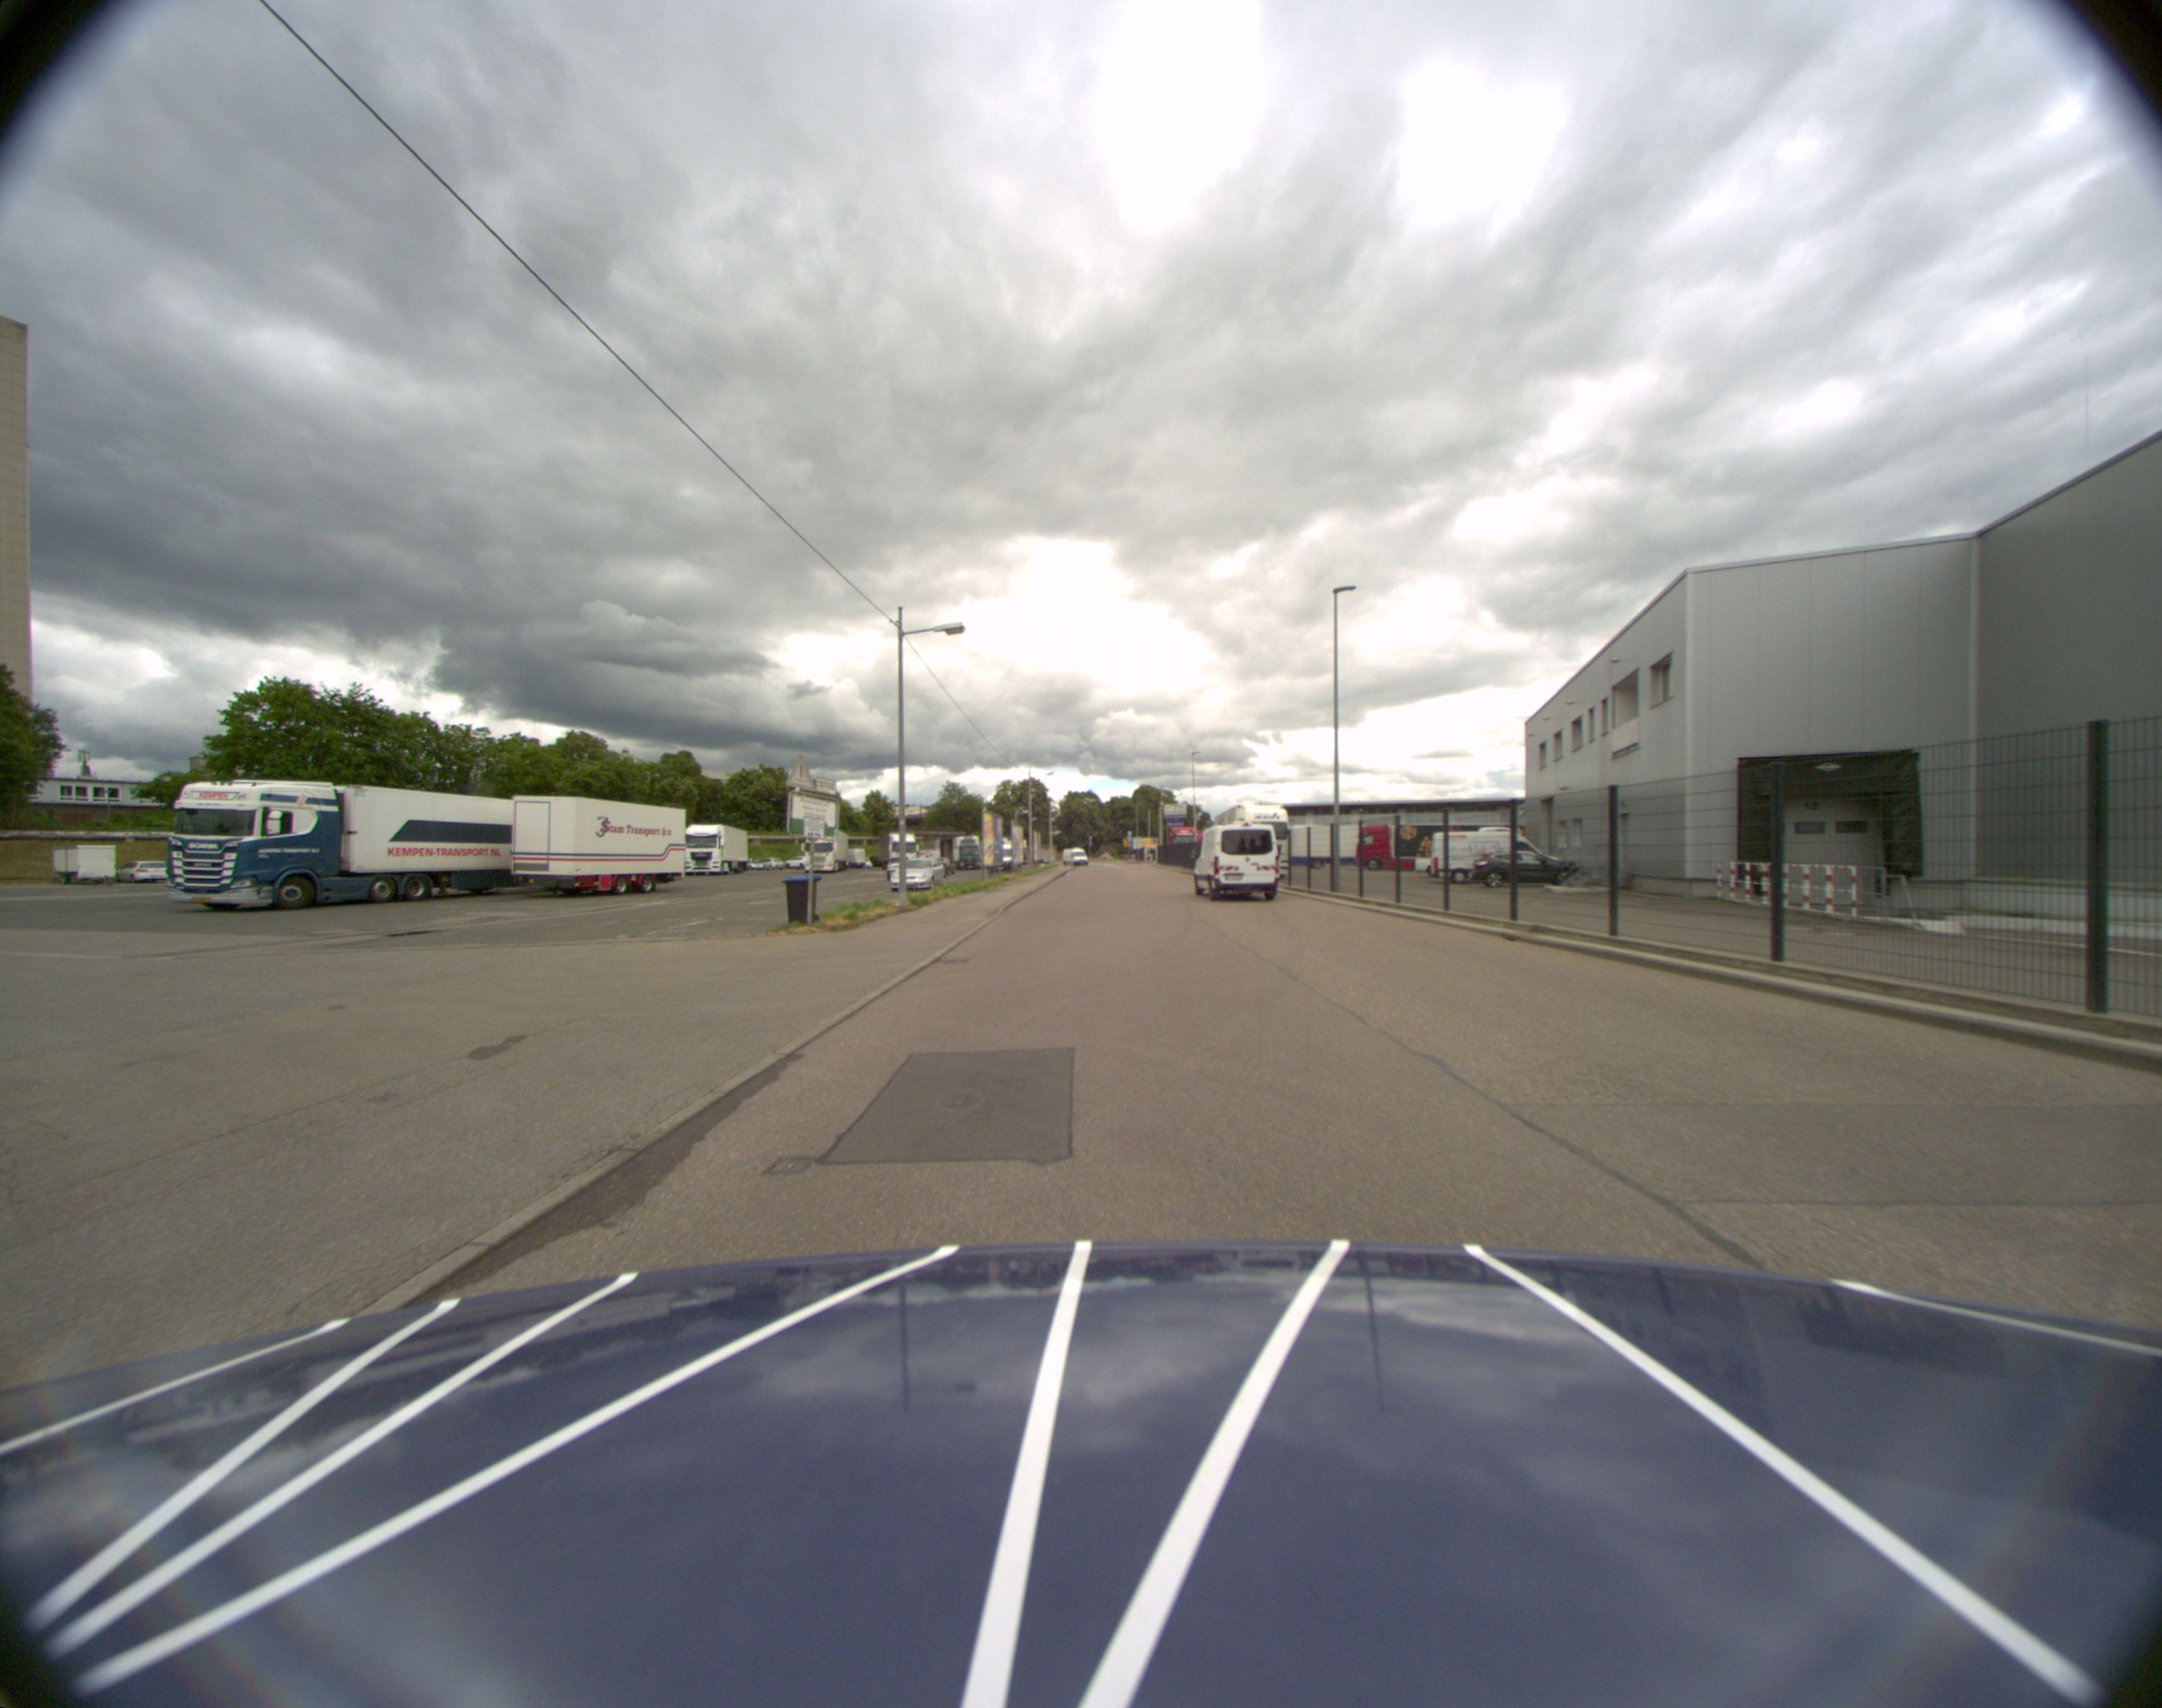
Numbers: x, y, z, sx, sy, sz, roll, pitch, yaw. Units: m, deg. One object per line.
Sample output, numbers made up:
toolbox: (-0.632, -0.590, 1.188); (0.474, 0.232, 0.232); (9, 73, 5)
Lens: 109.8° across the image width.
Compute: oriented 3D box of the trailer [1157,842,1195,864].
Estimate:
trailer: (10.360, -0.159, 83.964); (3.045, 2.179, 12.048); (1, 1, 2)

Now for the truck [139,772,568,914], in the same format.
truck: (-25.076, -0.354, 28.107); (3.082, 3.944, 13.069); (1, 0, 1)

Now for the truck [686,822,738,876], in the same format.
truck: (-29.510, -0.366, 60.988); (2.617, 4.071, 6.747); (0, 0, -16)

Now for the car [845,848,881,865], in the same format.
car: (-31.239, 0.374, 108.868); (4.906, 2.435, 2.375); (0, 1, 33)

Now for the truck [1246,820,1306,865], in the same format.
truck: (18.443, -1.065, 71.994); (4.877, 4.109, 3.048); (1, 1, 2)

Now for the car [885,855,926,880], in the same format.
car: (-11.812, 0.884, 51.377); (1.769, 1.562, 4.000); (-3, 0, 1)

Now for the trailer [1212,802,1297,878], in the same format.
trailer: (10.781, -0.811, 48.974); (3.366, 4.136, 13.852); (1, 1, 5)

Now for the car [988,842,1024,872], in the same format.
car: (-6.343, 0.218, 64.847); (2.091, 2.401, 6.084); (-1, 0, 3)

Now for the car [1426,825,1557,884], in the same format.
car: (20.384, 0.065, 38.034); (5.422, 2.714, 2.244); (-2, 0, 20)

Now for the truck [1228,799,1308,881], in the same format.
truck: (10.170, -0.745, 42.001); (3.366, 4.136, 5.629); (1, 1, 5)

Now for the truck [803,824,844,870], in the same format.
truck: (-23.985, -0.588, 71.023); (2.876, 4.071, 6.749); (0, 0, -12)

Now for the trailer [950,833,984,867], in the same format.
trailer: (-14.648, -0.483, 96.920); (2.841, 4.071, 13.378); (0, 0, -15)

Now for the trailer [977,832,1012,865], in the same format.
trailer: (-11.663, -0.721, 101.305); (2.841, 4.071, 13.378); (0, 0, -15)

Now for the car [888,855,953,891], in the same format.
car: (-6.989, 0.789, 33.555); (1.778, 1.455, 4.560); (-1, 0, 1)

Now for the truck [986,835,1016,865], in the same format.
truck: (-10.092, -0.478, 95.122); (2.876, 3.609, 6.748); (0, 0, -14)

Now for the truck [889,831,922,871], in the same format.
truck: (-18.973, -0.290, 81.863); (2.877, 4.071, 6.745); (0, 0, -18)

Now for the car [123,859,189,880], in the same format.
car: (-63.000, 1.037, 51.739); (4.137, 1.346, 2.004); (0, 1, 28)

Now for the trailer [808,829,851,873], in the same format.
trailer: (-25.300, -0.296, 77.014); (2.841, 4.071, 13.380); (0, 0, -13)

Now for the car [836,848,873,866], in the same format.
car: (-31.656, 0.368, 106.122); (4.906, 2.435, 2.375); (0, 1, 33)

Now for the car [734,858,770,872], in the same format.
car: (-40.628, 1.341, 93.915); (4.208, 1.599, 2.004); (0, 1, 31)

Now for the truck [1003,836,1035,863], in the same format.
truck: (-9.102, -0.658, 111.143); (2.832, 3.690, 9.090); (-1, 0, -17)

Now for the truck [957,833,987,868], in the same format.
truck: (-13.140, -0.412, 90.990); (2.876, 3.990, 6.748); (0, 0, -14)

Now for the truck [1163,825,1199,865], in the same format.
truck: (10.182, -0.924, 77.998); (3.021, 3.827, 5.670); (1, 1, 2)

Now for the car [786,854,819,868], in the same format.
car: (-36.549, 0.884, 99.717); (3.989, 1.862, 2.004); (0, 1, 31)

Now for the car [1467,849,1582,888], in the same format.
car: (19.270, 0.615, 33.239); (4.071, 1.568, 1.947); (-2, 0, 23)

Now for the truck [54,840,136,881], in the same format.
truck: (-64.909, 0.393, 49.995); (5.941, 2.476, 2.286); (2, 1, 27)

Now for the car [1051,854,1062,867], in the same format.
car: (-3.959, 1.019, 123.196); (1.712, 2.002, 3.888); (0, 0, -4)

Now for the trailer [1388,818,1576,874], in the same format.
trailer: (32.249, -0.719, 61.900); (13.157, 4.189, 3.053); (2, 1, 23)

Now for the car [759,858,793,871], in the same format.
car: (-38.219, 1.279, 95.215); (3.989, 1.599, 2.004); (0, 1, 31)

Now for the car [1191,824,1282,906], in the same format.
car: (4.994, 0.326, 25.237); (1.998, 2.402, 5.256); (-2, 0, 1)

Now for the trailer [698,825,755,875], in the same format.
trailer: (-31.436, -0.337, 67.834); (2.617, 4.071, 12.426); (0, 0, -16)

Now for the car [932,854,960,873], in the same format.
car: (-11.525, 0.801, 65.037); (1.497, 1.486, 4.053); (-1, 0, 3)

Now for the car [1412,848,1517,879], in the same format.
car: (23.658, 0.553, 47.127); (5.679, 1.799, 1.947); (1, 1, 23)

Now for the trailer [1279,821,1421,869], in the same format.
trailer: (24.759, -0.887, 70.488); (12.019, 4.109, 3.053); (1, 1, 20)

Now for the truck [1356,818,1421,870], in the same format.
truck: (26.116, -0.872, 64.569); (4.869, 4.181, 3.053); (2, 1, 24)

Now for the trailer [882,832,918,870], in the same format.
trailer: (-21.283, -0.324, 88.722); (2.842, 4.071, 13.374); (0, 0, -19)

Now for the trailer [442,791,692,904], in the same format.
trailer: (-21.012, -0.261, 32.308); (2.964, 3.944, 10.407); (1, 0, 4)

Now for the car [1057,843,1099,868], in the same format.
car: (-0.506, 0.193, 111.063); (3.344, 3.586, 8.654); (-1, 0, -21)

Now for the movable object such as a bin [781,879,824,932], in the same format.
movable object such as a bin: (-5.940, 1.084, 16.238); (0.716, 1.075, 0.662); (-1, 0, -5)
